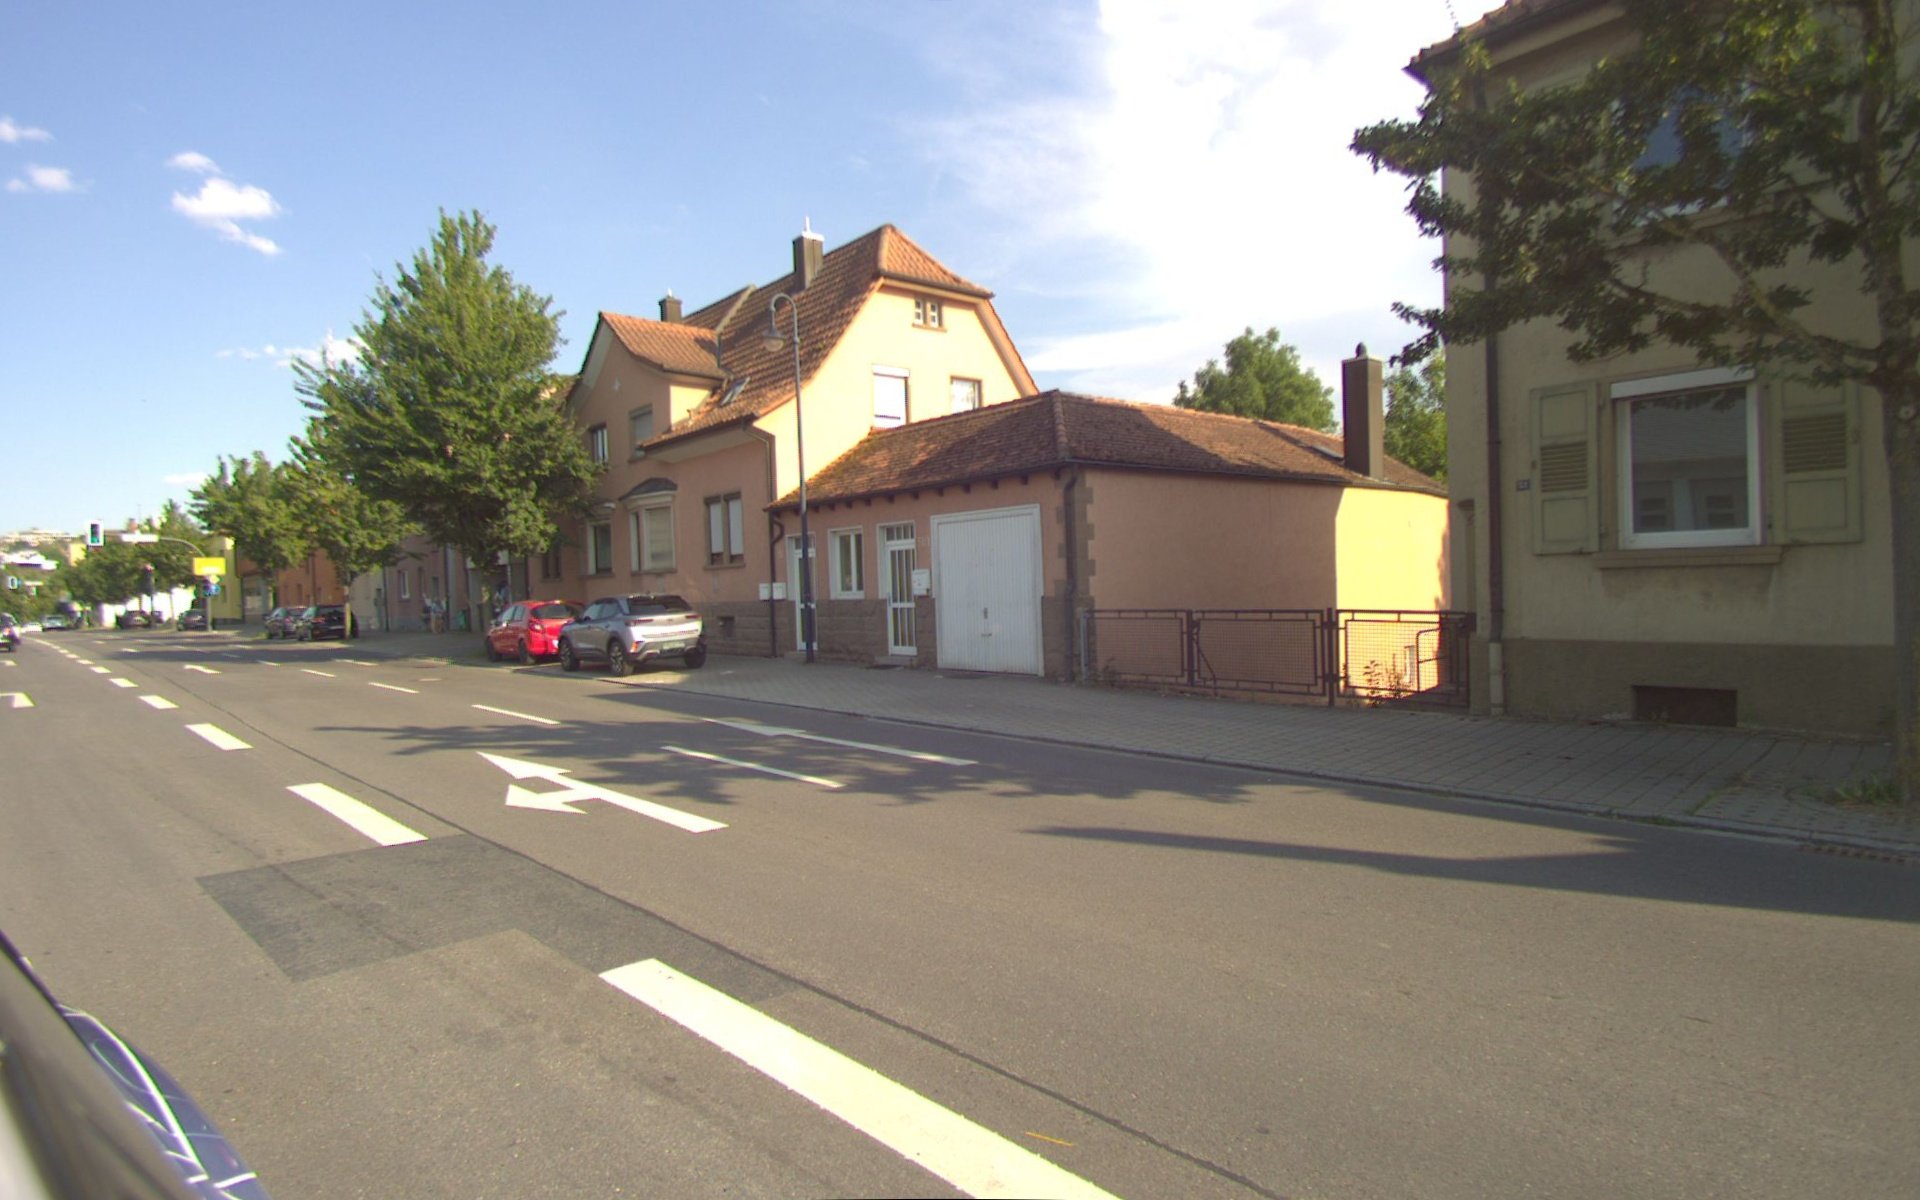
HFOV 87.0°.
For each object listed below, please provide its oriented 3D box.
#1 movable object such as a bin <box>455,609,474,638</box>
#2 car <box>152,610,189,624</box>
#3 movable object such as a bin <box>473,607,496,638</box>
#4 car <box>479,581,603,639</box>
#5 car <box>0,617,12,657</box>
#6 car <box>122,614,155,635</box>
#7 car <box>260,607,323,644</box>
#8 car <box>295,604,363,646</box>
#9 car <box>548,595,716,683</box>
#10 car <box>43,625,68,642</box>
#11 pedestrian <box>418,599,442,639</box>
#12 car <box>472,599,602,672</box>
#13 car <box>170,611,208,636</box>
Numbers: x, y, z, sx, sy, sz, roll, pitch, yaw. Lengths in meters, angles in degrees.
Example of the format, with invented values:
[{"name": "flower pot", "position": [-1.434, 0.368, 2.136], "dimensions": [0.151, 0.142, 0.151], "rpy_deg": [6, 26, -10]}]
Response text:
[{"name": "movable object such as a bin", "position": [-19.715, 0.936, 40.276], "dimensions": [0.544, 1.151, 0.530], "rpy_deg": [-1, -1, -43]}, {"name": "car", "position": [-94.895, 2.015, 121.653], "dimensions": [1.567, 1.576, 3.426], "rpy_deg": [-2, 0, 5]}, {"name": "movable object such as a bin", "position": [-17.872, 0.836, 38.012], "dimensions": [0.575, 1.151, 0.560], "rpy_deg": [-2, -1, 39]}, {"name": "car", "position": [-15.501, 0.345, 37.521], "dimensions": [3.777, 1.895, 1.780], "rpy_deg": [-4, 2, -44]}, {"name": "car", "position": [-37.131, 1.425, 38.457], "dimensions": [1.514, 1.473, 3.508], "rpy_deg": [-1, -1, -45]}, {"name": "car", "position": [-69.331, 2.076, 85.376], "dimensions": [1.833, 1.607, 4.464], "rpy_deg": [-1, 0, -44]}, {"name": "car", "position": [-30.433, 1.164, 46.063], "dimensions": [3.886, 1.521, 1.495], "rpy_deg": [-2, 1, 43]}, {"name": "car", "position": [-26.119, 1.024, 41.816], "dimensions": [1.646, 1.543, 3.907], "rpy_deg": [-5, 2, -42]}, {"name": "car", "position": [-6.717, 0.757, 20.486], "dimensions": [1.734, 1.490, 4.006], "rpy_deg": [-5, 2, -41]}, {"name": "car", "position": [-95.937, 3.546, 107.339], "dimensions": [4.414, 1.624, 1.667], "rpy_deg": [-1, 0, 44]}, {"name": "pedestrian", "position": [-22.047, 0.785, 42.090], "dimensions": [0.711, 1.619, 0.779], "rpy_deg": [-1, -1, -42]}, {"name": "car", "position": [-10.284, 0.803, 24.447], "dimensions": [1.645, 1.498, 4.006], "rpy_deg": [-5, 3, -41]}, {"name": "car", "position": [-51.261, 1.566, 67.289], "dimensions": [1.573, 1.449, 3.779], "rpy_deg": [-7, 3, -42]}]
